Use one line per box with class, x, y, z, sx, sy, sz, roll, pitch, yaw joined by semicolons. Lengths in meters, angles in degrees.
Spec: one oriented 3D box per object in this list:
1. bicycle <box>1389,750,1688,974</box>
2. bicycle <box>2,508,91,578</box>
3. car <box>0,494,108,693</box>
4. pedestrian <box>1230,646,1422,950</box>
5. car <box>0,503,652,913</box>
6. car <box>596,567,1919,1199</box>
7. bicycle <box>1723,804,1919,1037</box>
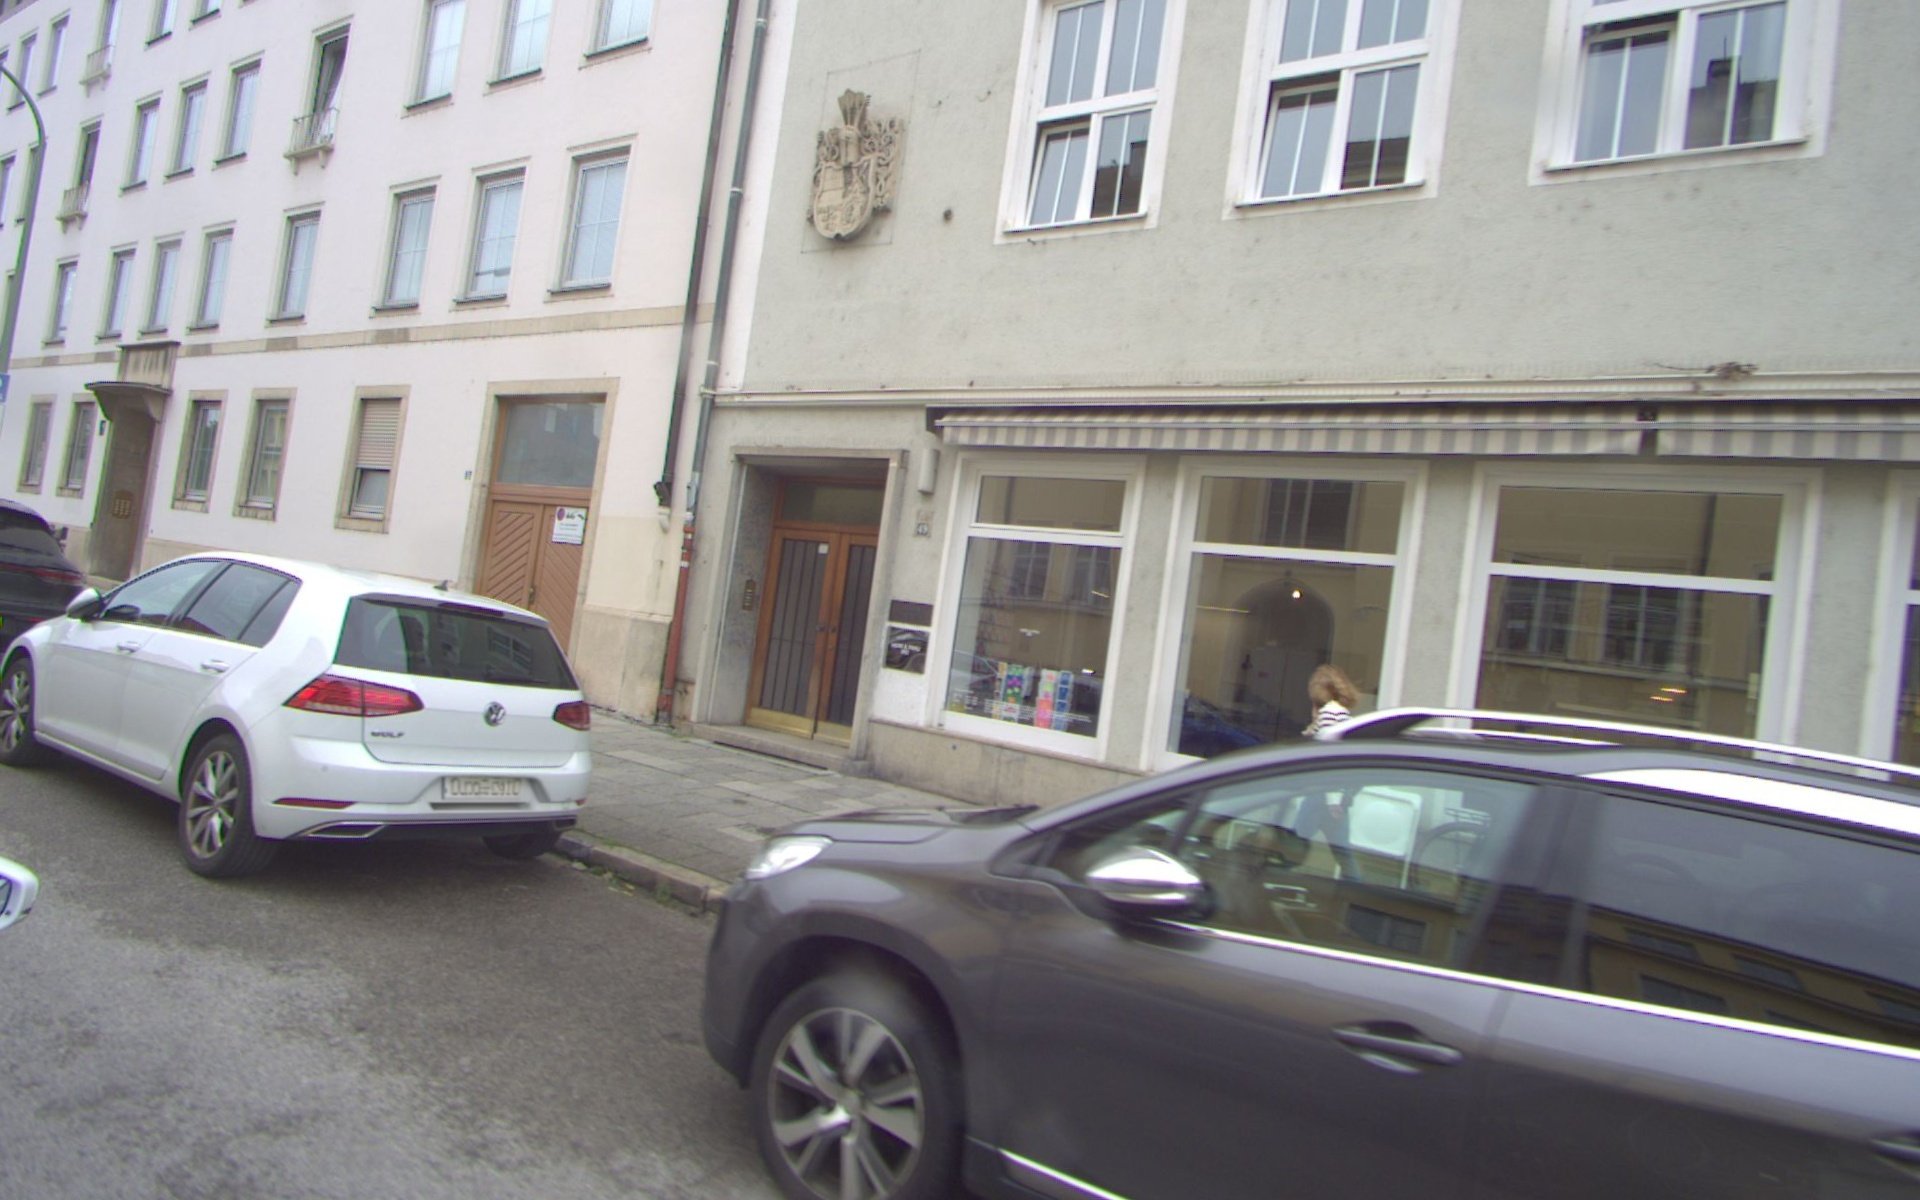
bicycle;3.587;1.589;6.336;1.496;1.016;0.331;7;0;32
bicycle;-17.782;-1.114;19.572;1.994;1.140;0.660;7;-1;32
car;-9.885;-0.319;9.282;4.259;1.601;1.783;7;-4;33
pedestrian;2.290;1.171;6.265;0.814;1.645;0.735;7;0;32
car;-3.924;0.454;5.856;4.016;1.478;1.698;7;-4;32
car;1.211;1.033;2.723;4.012;1.599;1.699;7;-4;28
bicycle;5.064;1.759;5.338;1.496;1.016;0.331;7;0;32
